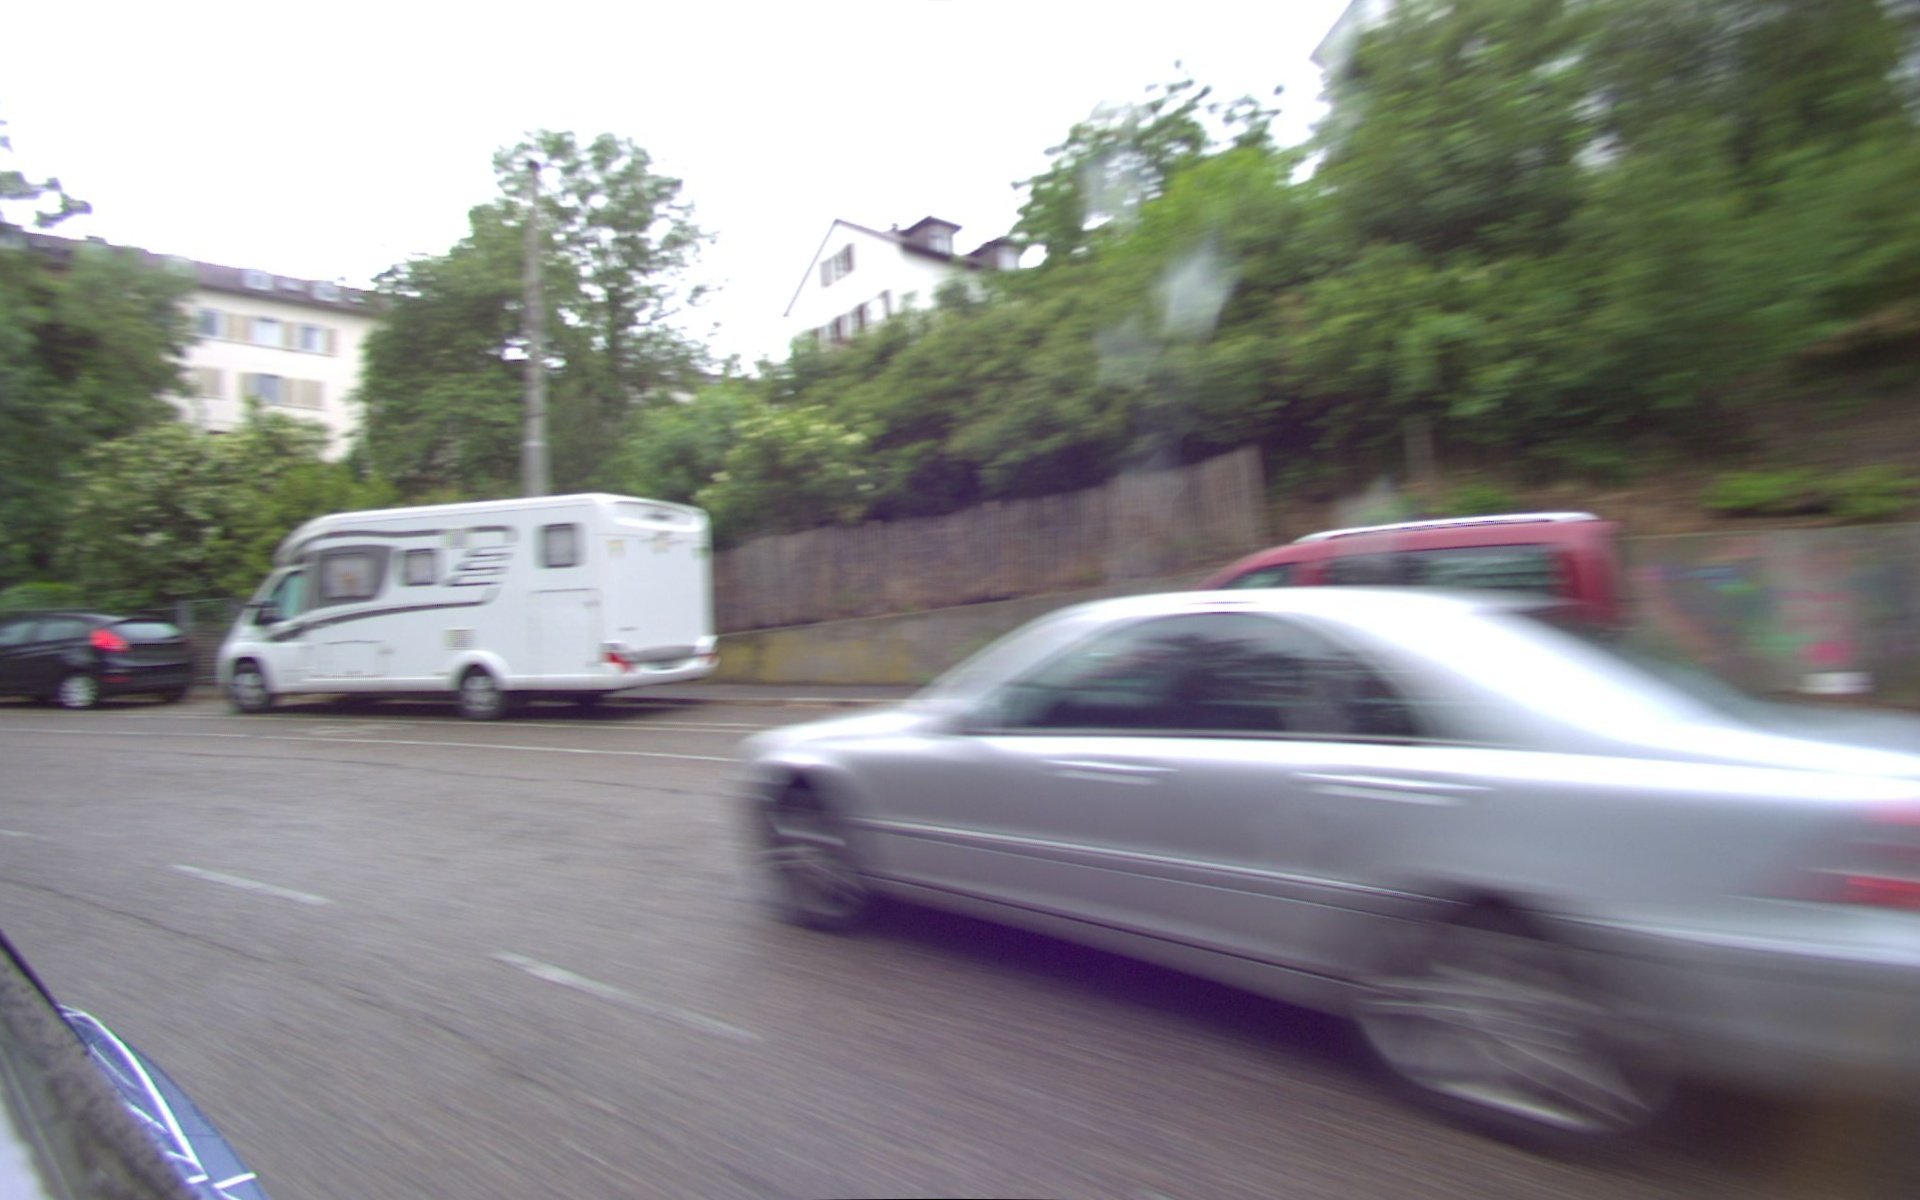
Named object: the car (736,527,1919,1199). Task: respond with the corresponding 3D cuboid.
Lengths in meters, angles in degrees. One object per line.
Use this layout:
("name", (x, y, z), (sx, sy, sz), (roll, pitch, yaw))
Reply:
("car", (1.167, 0.585, 3.714), (4.339, 1.396, 1.765), (-2, 0, 44))

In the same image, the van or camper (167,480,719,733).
("van or camper", (-7.324, 0.140, 14.326), (7.465, 2.989, 2.444), (-1, 0, 18))

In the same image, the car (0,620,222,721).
("car", (-14.135, 1.036, 15.756), (4.084, 1.422, 1.910), (1, -2, 8))

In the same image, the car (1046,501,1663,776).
("car", (3.379, 0.318, 9.150), (4.810, 1.890, 1.977), (-2, 0, 35))
